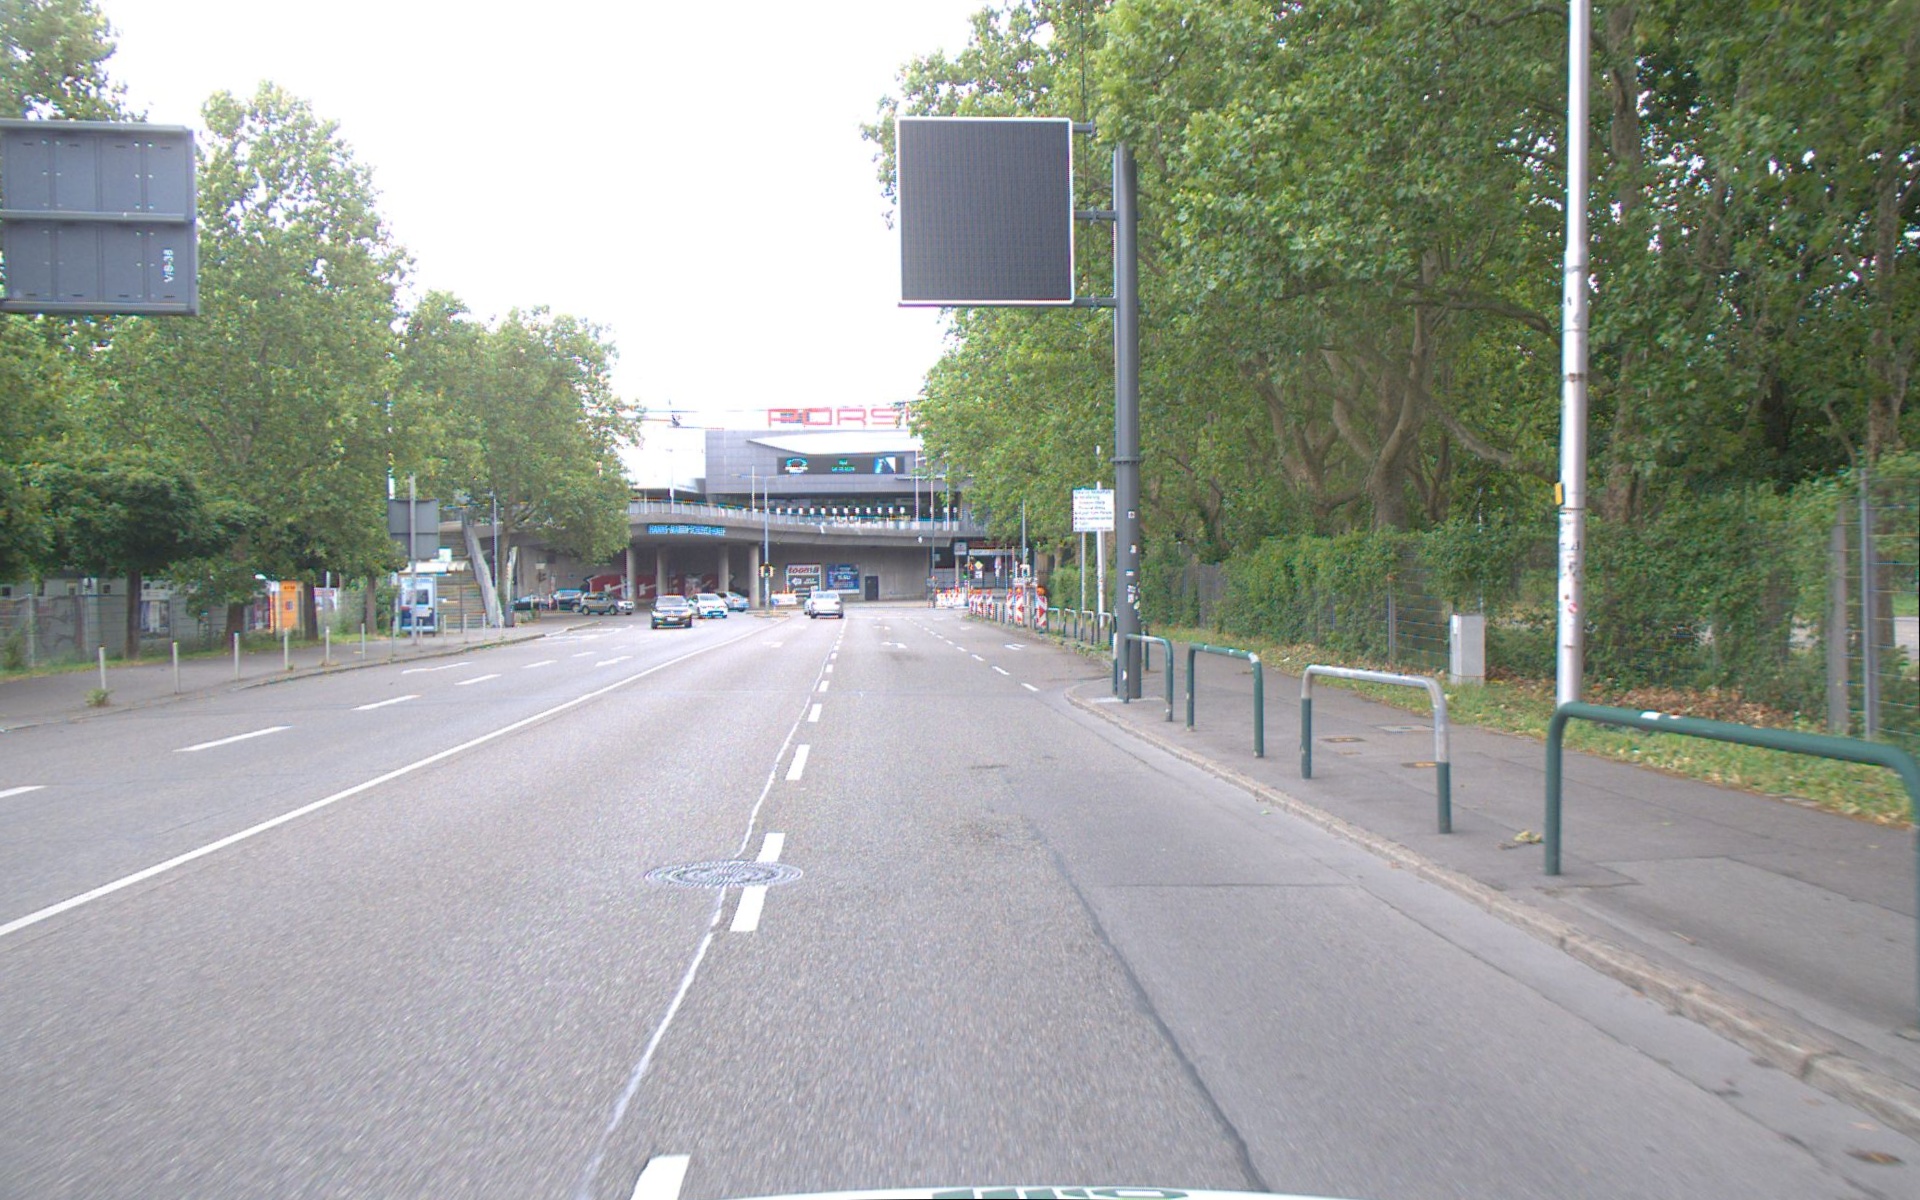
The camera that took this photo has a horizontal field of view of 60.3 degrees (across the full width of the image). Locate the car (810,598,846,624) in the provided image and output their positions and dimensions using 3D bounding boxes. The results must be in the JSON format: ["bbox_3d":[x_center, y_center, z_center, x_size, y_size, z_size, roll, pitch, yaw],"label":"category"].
[{"bbox_3d":[-7.467,0.598,93.623,1.954,1.443,3.996,0,0,-5],"label":"car"}]

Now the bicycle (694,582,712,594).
[{"bbox_3d":[-21.892,-1.020,140.827,1.504,1.031,0.516,1,-1,-7],"label":"bicycle"}]

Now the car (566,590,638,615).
[{"bbox_3d":[-23.848,0.166,110.213,4.279,1.557,2.001,-1,0,18],"label":"car"}]

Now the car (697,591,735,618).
[{"bbox_3d":[-14.499,0.250,98.464,1.954,1.557,4.380,-1,0,-5],"label":"car"}]

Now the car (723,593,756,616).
[{"bbox_3d":[-15.815,0.309,118.821,1.953,1.557,4.383,-1,0,-2],"label":"car"}]

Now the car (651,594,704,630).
[{"bbox_3d":[-13.051,0.520,76.552,1.955,1.557,4.721,-2,0,-5],"label":"car"}]
